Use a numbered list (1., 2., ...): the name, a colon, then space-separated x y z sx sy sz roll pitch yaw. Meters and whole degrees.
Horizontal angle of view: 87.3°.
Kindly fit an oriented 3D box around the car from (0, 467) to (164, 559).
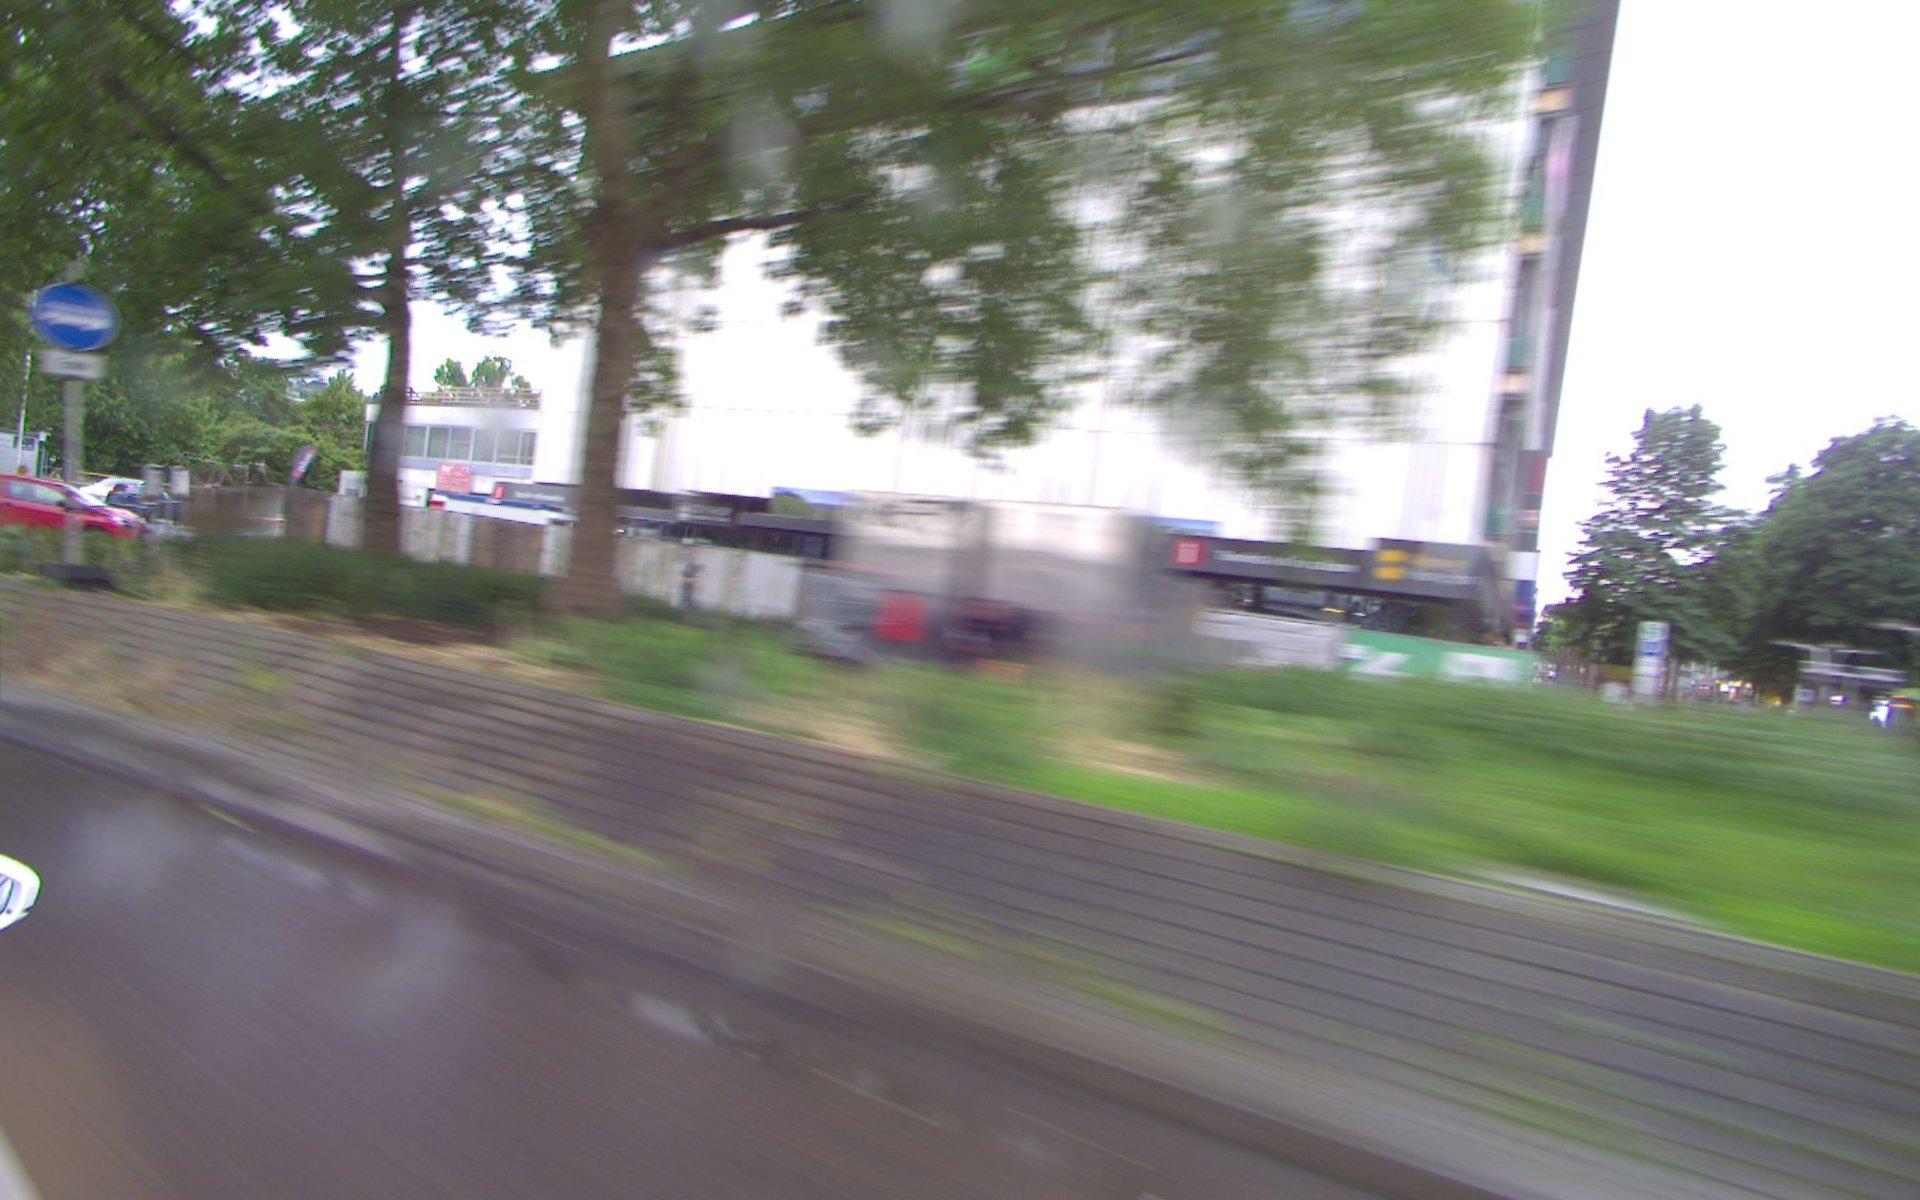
1. car: -19.468 -1.898 21.327 3.572 1.523 1.725 8 -1 -23

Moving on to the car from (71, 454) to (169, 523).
1. car: -31.909 -4.175 38.352 2.113 2.037 4.609 8 -1 -33

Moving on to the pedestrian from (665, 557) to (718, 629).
1. pedestrian: -5.980 -0.166 22.429 0.910 1.488 0.549 8 2 34

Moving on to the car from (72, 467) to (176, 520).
1. car: -39.456 -4.993 47.625 1.920 1.802 4.443 7 -1 -15
